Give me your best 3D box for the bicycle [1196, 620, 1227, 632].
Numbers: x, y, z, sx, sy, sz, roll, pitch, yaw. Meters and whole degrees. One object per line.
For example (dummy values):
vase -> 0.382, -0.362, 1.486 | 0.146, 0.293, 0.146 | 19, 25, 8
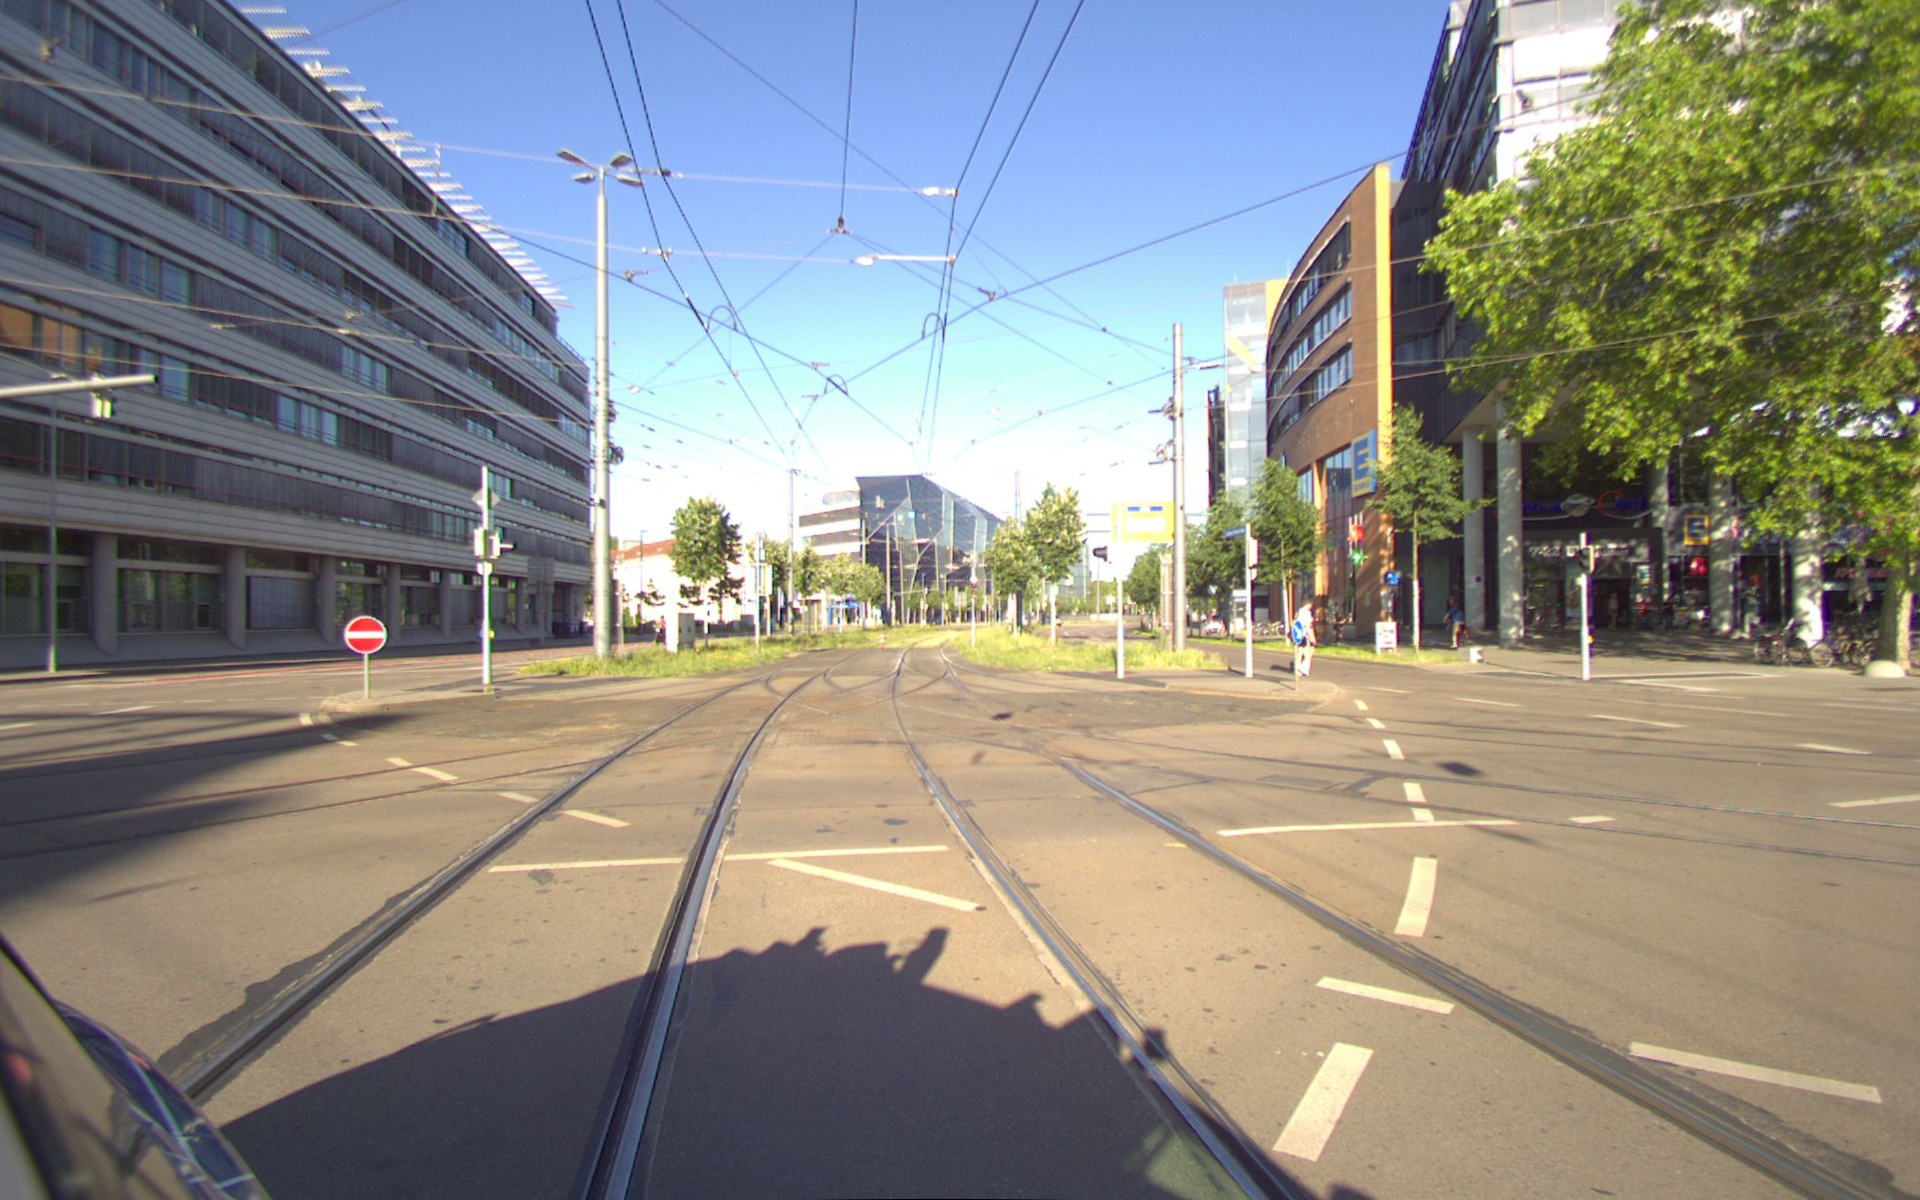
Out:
bicycle -> 22.951, 2.363, 92.398 | 2.664, 1.112, 0.822 | -1, -2, 12

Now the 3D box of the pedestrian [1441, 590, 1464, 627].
pedestrian -> 23.276, 0.398, 47.831 | 0.725, 1.718, 0.697 | -1, -1, 8

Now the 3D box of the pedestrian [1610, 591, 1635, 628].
pedestrian -> 30.290, 0.449, 46.282 | 0.690, 1.665, 0.705 | -1, -1, 5

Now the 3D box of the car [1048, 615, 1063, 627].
car -> 12.311, 2.683, 130.598 | 1.605, 1.539, 4.801 | -1, -1, 1

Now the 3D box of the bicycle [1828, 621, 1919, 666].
bicycle -> 24.336, 1.142, 26.679 | 2.334, 1.137, 0.599 | -1, -2, 0

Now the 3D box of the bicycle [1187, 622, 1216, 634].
bicycle -> 23.585, 2.721, 98.929 | 2.664, 1.112, 0.892 | -1, -2, 12

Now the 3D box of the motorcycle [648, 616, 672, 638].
motorcycle -> -17.305, 1.529, 58.372 | 0.810, 1.230, 2.256 | 0, -1, -2

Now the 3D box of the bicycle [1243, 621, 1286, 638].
bicycle -> 20.172, 1.939, 67.076 | 2.664, 1.112, 0.892 | -1, -2, 12

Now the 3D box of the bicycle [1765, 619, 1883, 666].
bicycle -> 21.592, 1.053, 25.312 | 2.334, 1.137, 0.598 | -1, -2, 2

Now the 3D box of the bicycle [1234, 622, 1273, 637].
bicycle -> 21.418, 2.153, 73.992 | 2.664, 1.112, 0.892 | -1, -2, 12

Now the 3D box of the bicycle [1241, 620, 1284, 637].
bicycle -> 20.365, 1.933, 68.101 | 2.664, 1.112, 0.892 | -1, -2, 12

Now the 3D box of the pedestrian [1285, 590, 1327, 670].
pedestrian -> 8.336, 0.721, 24.416 | 0.723, 1.884, 0.673 | -1, -1, -2

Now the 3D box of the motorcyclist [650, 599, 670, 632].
motorcyclist -> -17.307, 0.911, 58.428 | 0.810, 1.871, 1.113 | 0, -1, -2

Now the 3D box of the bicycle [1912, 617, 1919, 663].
bicycle -> 24.895, 0.973, 24.882 | 2.334, 1.137, 0.599 | -1, -2, 0

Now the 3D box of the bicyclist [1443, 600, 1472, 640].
bicyclist -> 18.791, 0.764, 38.243 | 0.684, 1.472, 0.754 | -1, -1, 1

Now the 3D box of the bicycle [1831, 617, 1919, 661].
bicycle -> 25.042, 1.052, 27.407 | 2.334, 1.137, 0.599 | -1, -2, 0

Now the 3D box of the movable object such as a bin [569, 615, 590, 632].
movable object such as a bin -> -30.269, 1.873, 80.454 | 1.158, 1.311, 1.328 | -1, -1, 1

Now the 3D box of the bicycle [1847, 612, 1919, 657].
bicycle -> 24.267, 0.876, 26.021 | 2.334, 1.137, 0.599 | -1, -2, 0

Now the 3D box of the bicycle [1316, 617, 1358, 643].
bicycle -> 16.730, 1.354, 44.977 | 0.883, 1.112, 2.690 | -1, -2, 1

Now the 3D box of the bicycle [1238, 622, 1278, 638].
bicycle -> 21.351, 2.125, 72.654 | 2.664, 1.112, 0.892 | -1, -2, 12

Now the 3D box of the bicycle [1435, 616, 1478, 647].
bicycle -> 18.791, 1.188, 38.315 | 0.684, 1.145, 1.851 | -1, -1, 0

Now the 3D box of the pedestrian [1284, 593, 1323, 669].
pedestrian -> 8.643, 0.782, 25.485 | 0.723, 1.884, 0.699 | -1, -1, 0

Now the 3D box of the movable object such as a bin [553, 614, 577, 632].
movable object such as a bin -> -29.644, 1.692, 75.913 | 1.310, 1.311, 1.174 | -1, -1, 1

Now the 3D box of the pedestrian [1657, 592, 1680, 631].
pedestrian -> 30.539, 0.489, 43.641 | 0.705, 1.665, 0.689 | -2, -1, 42

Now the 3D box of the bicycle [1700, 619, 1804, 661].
bicycle -> 22.002, 1.112, 28.139 | 2.334, 1.137, 0.598 | -1, -2, 2

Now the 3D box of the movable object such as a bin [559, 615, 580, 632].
movable object such as a bin -> -30.509, 1.809, 79.117 | 1.158, 1.311, 1.328 | -1, -1, 1

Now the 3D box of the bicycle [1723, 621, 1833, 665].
bicycle -> 21.499, 1.125, 26.619 | 2.334, 1.137, 0.598 | -1, -2, 2

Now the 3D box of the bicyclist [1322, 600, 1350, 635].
bicyclist -> 16.725, 0.789, 44.998 | 0.884, 1.560, 0.938 | -1, -2, 2
